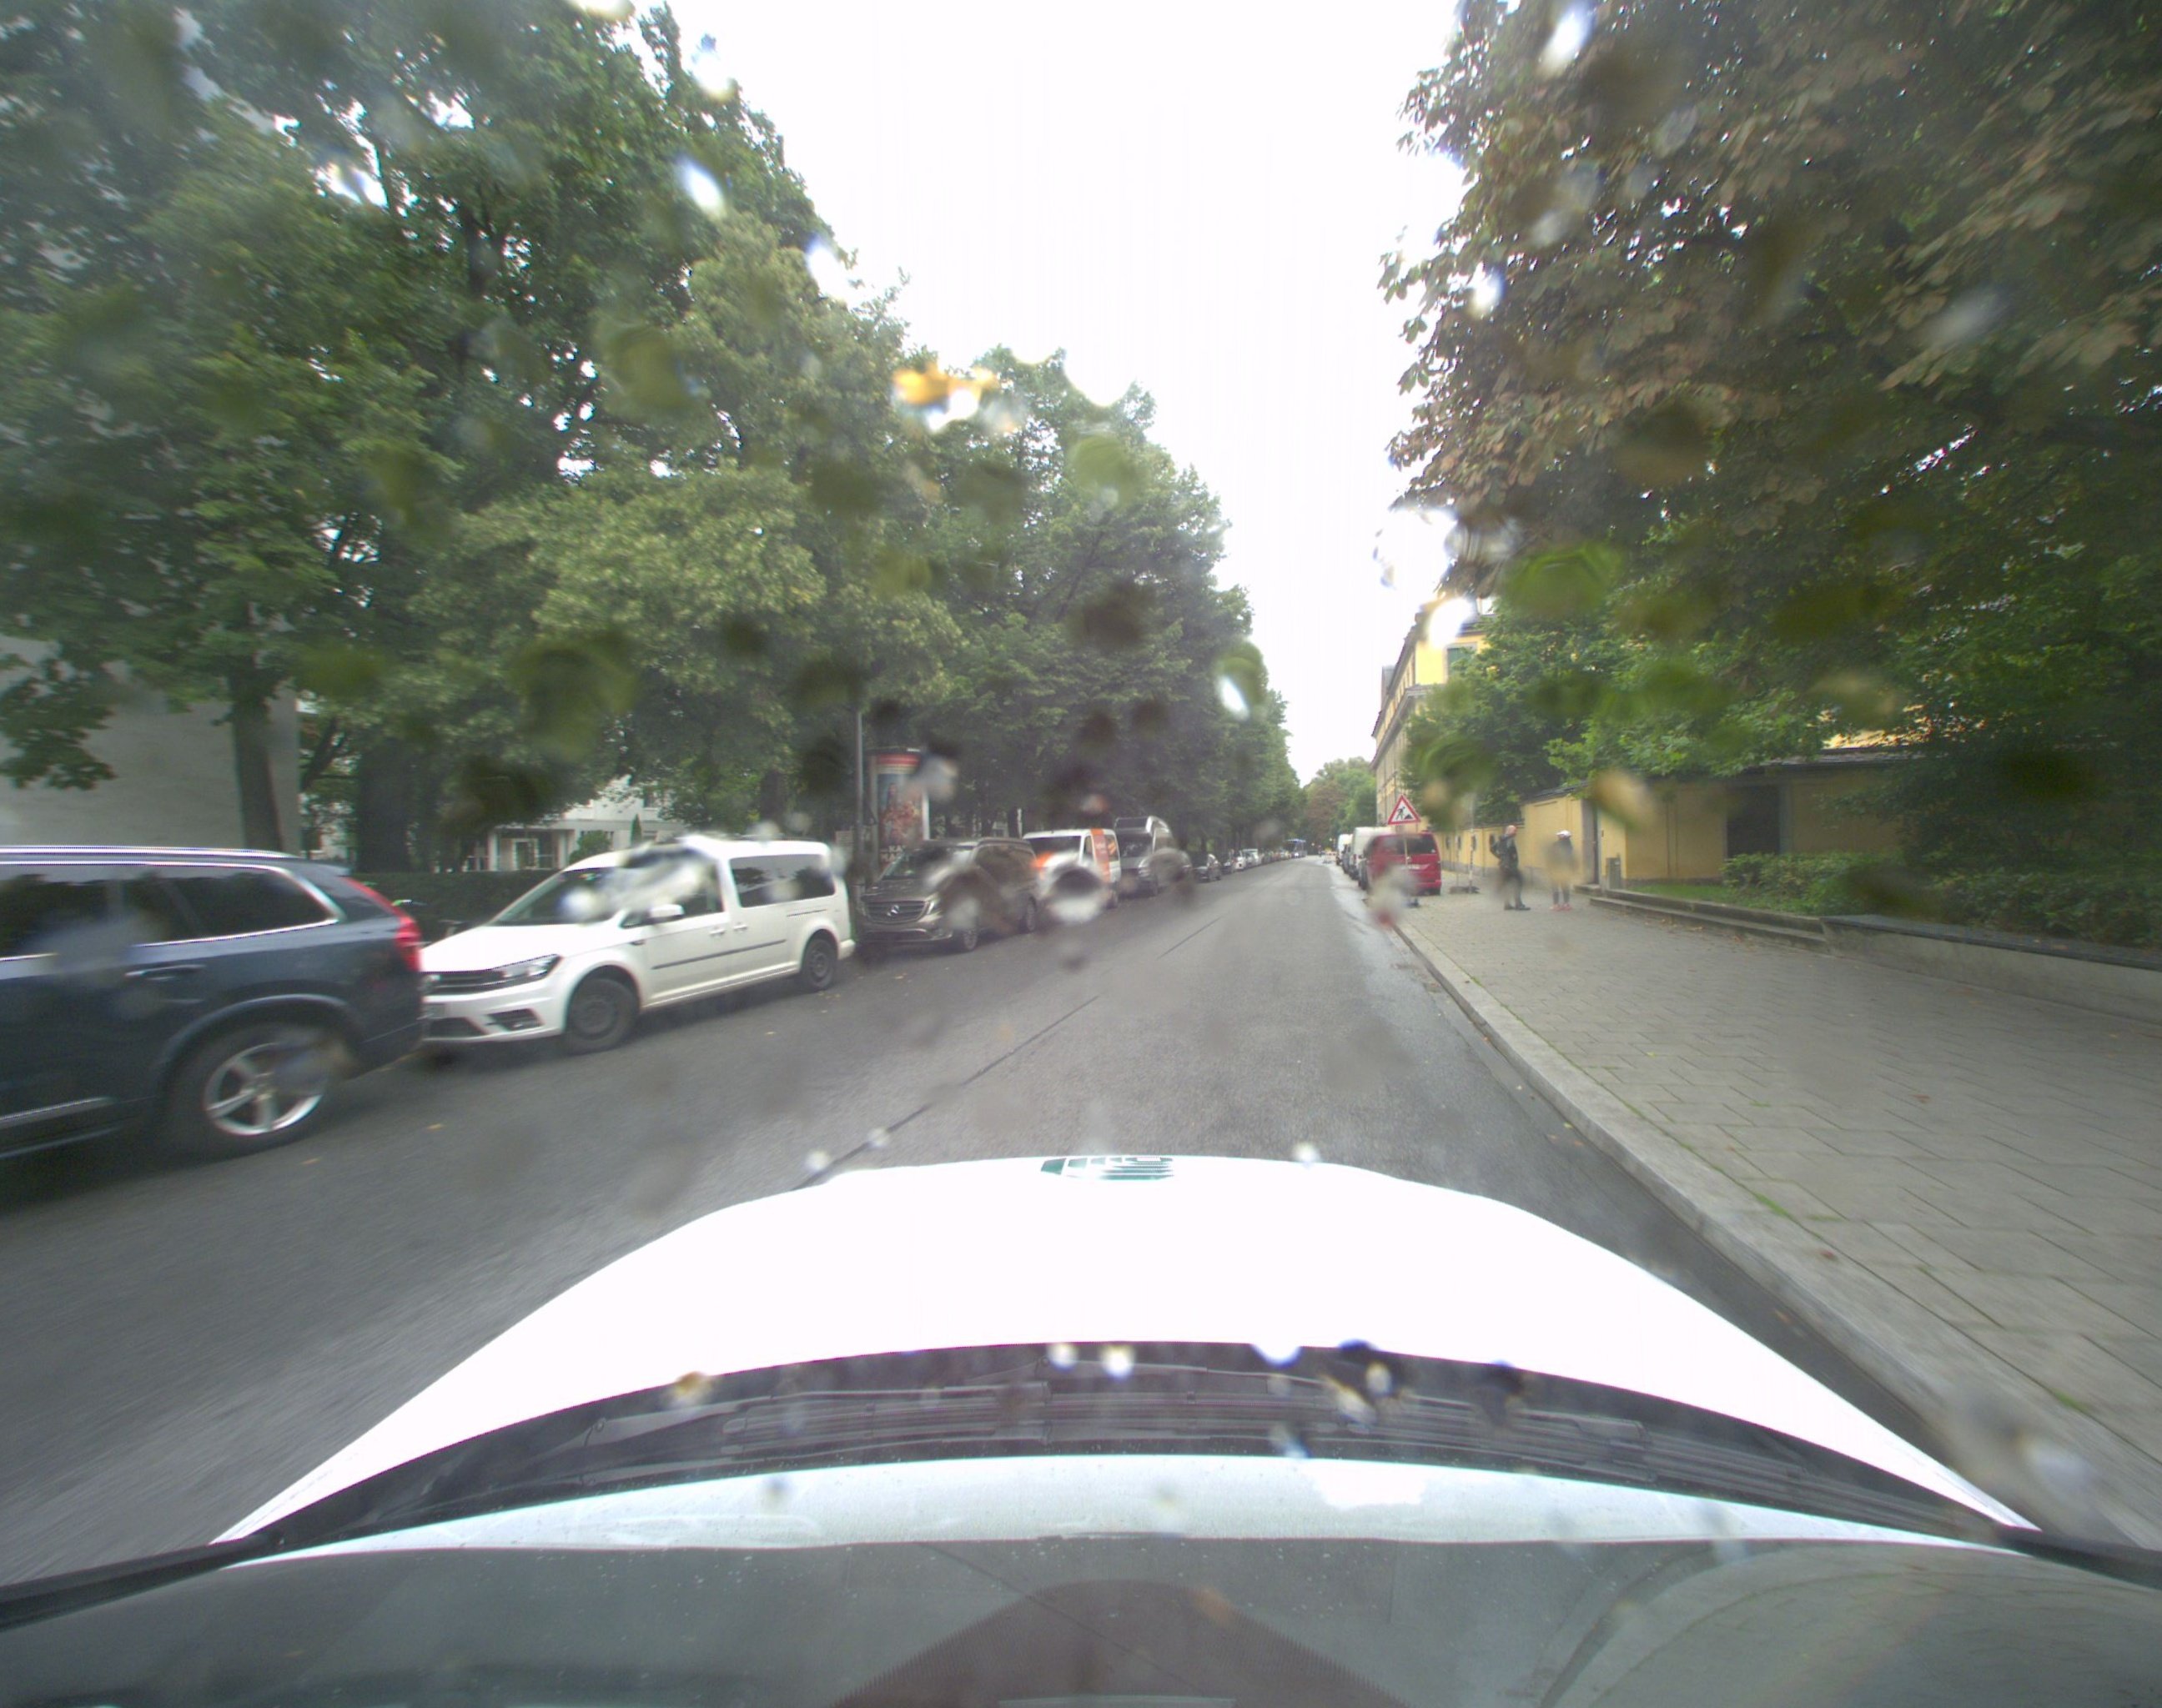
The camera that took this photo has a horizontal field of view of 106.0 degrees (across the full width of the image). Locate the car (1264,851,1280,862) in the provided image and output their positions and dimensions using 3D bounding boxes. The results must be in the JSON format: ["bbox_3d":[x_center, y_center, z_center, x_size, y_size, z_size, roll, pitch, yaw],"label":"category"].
[{"bbox_3d":[24.433,0.316,103.980,1.979,1.420,4.015,-1,0,14],"label":"car"}]

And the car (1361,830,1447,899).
[{"bbox_3d":[10.078,0.290,25.790,1.897,1.937,4.989,-1,0,14],"label":"car"}]

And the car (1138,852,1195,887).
[{"bbox_3d":[3.866,0.655,36.233,1.979,1.420,4.015,-1,0,14],"label":"car"}]

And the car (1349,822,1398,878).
[{"bbox_3d":[14.612,-0.199,40.969,1.978,2.558,5.454,-2,0,17],"label":"car"}]

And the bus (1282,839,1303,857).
[{"bbox_3d":[35.337,-1.045,136.438,2.918,2.919,8.265,-1,0,11],"label":"bus"}]

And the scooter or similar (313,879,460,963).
[{"bbox_3d":[-11.092,1.034,13.078,0.696,1.191,1.664,-2,0,15],"label":"scooter or similar"}]

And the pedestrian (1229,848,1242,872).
[{"bbox_3d":[10.864,0.417,57.332,0.878,1.598,0.825,-1,0,9],"label":"pedestrian"}]

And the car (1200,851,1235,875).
[{"bbox_3d":[9.188,0.554,54.677,1.979,1.486,4.145,-1,0,14],"label":"car"}]

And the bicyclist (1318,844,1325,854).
[{"bbox_3d":[39.422,-0.856,133.320,1.013,1.545,1.263,-2,0,17],"label":"bicyclist"}]

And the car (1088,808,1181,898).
[{"bbox_3d":[2.191,-0.054,30.751,2.156,3.002,6.260,-2,0,16],"label":"car"}]

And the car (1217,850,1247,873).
[{"bbox_3d":[11.312,0.523,60.871,1.979,1.620,4.145,-1,0,14],"label":"car"}]

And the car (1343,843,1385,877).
[{"bbox_3d":[16.490,0.322,47.601,1.979,1.883,4.016,-2,0,14],"label":"car"}]

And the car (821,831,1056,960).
[{"bbox_3d":[-2.306,0.633,15.220,2.011,1.908,5.690,-3,0,15],"label":"car"}]

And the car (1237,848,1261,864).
[{"bbox_3d":[15.691,0.155,76.033,1.979,1.420,4.015,-1,0,14],"label":"car"}]

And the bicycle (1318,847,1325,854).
[{"bbox_3d":[39.470,-0.542,133.511,1.013,1.157,2.496,-2,0,17],"label":"bicycle"}]

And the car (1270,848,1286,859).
[{"bbox_3d":[27.219,-0.027,112.537,1.979,1.420,4.015,-1,0,14],"label":"car"}]

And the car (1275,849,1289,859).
[{"bbox_3d":[29.068,-0.055,117.865,1.979,1.420,4.015,-1,0,14],"label":"car"}]

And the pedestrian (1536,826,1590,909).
[{"bbox_3d":[9.920,0.271,16.764,0.632,1.667,0.696,-2,0,-6],"label":"pedestrian"}]

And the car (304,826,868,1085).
[{"bbox_3d":[-4.534,0.749,8.607,2.067,1.903,4.881,-2,0,18],"label":"car"}]

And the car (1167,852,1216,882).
[{"bbox_3d":[5.687,0.625,41.512,1.979,1.420,4.145,-1,0,14],"label":"car"}]

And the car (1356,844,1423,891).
[{"bbox_3d":[11.700,0.458,31.143,1.978,1.634,4.584,-2,0,16],"label":"car"}]

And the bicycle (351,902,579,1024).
[{"bbox_3d":[-6.378,1.077,8.577,0.613,1.025,1.862,-2,0,18],"label":"bicycle"}]

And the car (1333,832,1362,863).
[{"bbox_3d":[23.352,-0.546,71.388,1.827,2.622,4.398,-2,0,11],"label":"car"}]

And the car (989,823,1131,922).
[{"bbox_3d":[-0.369,0.438,22.188,2.067,2.265,5.628,-3,0,17],"label":"car"}]

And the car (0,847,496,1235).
[{"bbox_3d":[-5.944,0.861,3.481,2.066,1.719,5.331,-2,0,19],"label":"car"}]

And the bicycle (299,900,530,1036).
[{"bbox_3d":[-7.076,1.154,8.781,0.613,1.179,1.862,-2,0,18],"label":"bicycle"}]

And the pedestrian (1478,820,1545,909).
[{"bbox_3d":[9.194,0.218,17.414,0.820,1.836,0.949,-2,0,-11],"label":"pedestrian"}]

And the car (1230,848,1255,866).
[{"bbox_3d":[14.028,0.242,70.559,1.979,1.420,4.015,-1,0,14],"label":"car"}]

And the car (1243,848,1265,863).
[{"bbox_3d":[17.428,0.130,81.876,1.979,1.420,4.015,-1,0,14],"label":"car"}]
